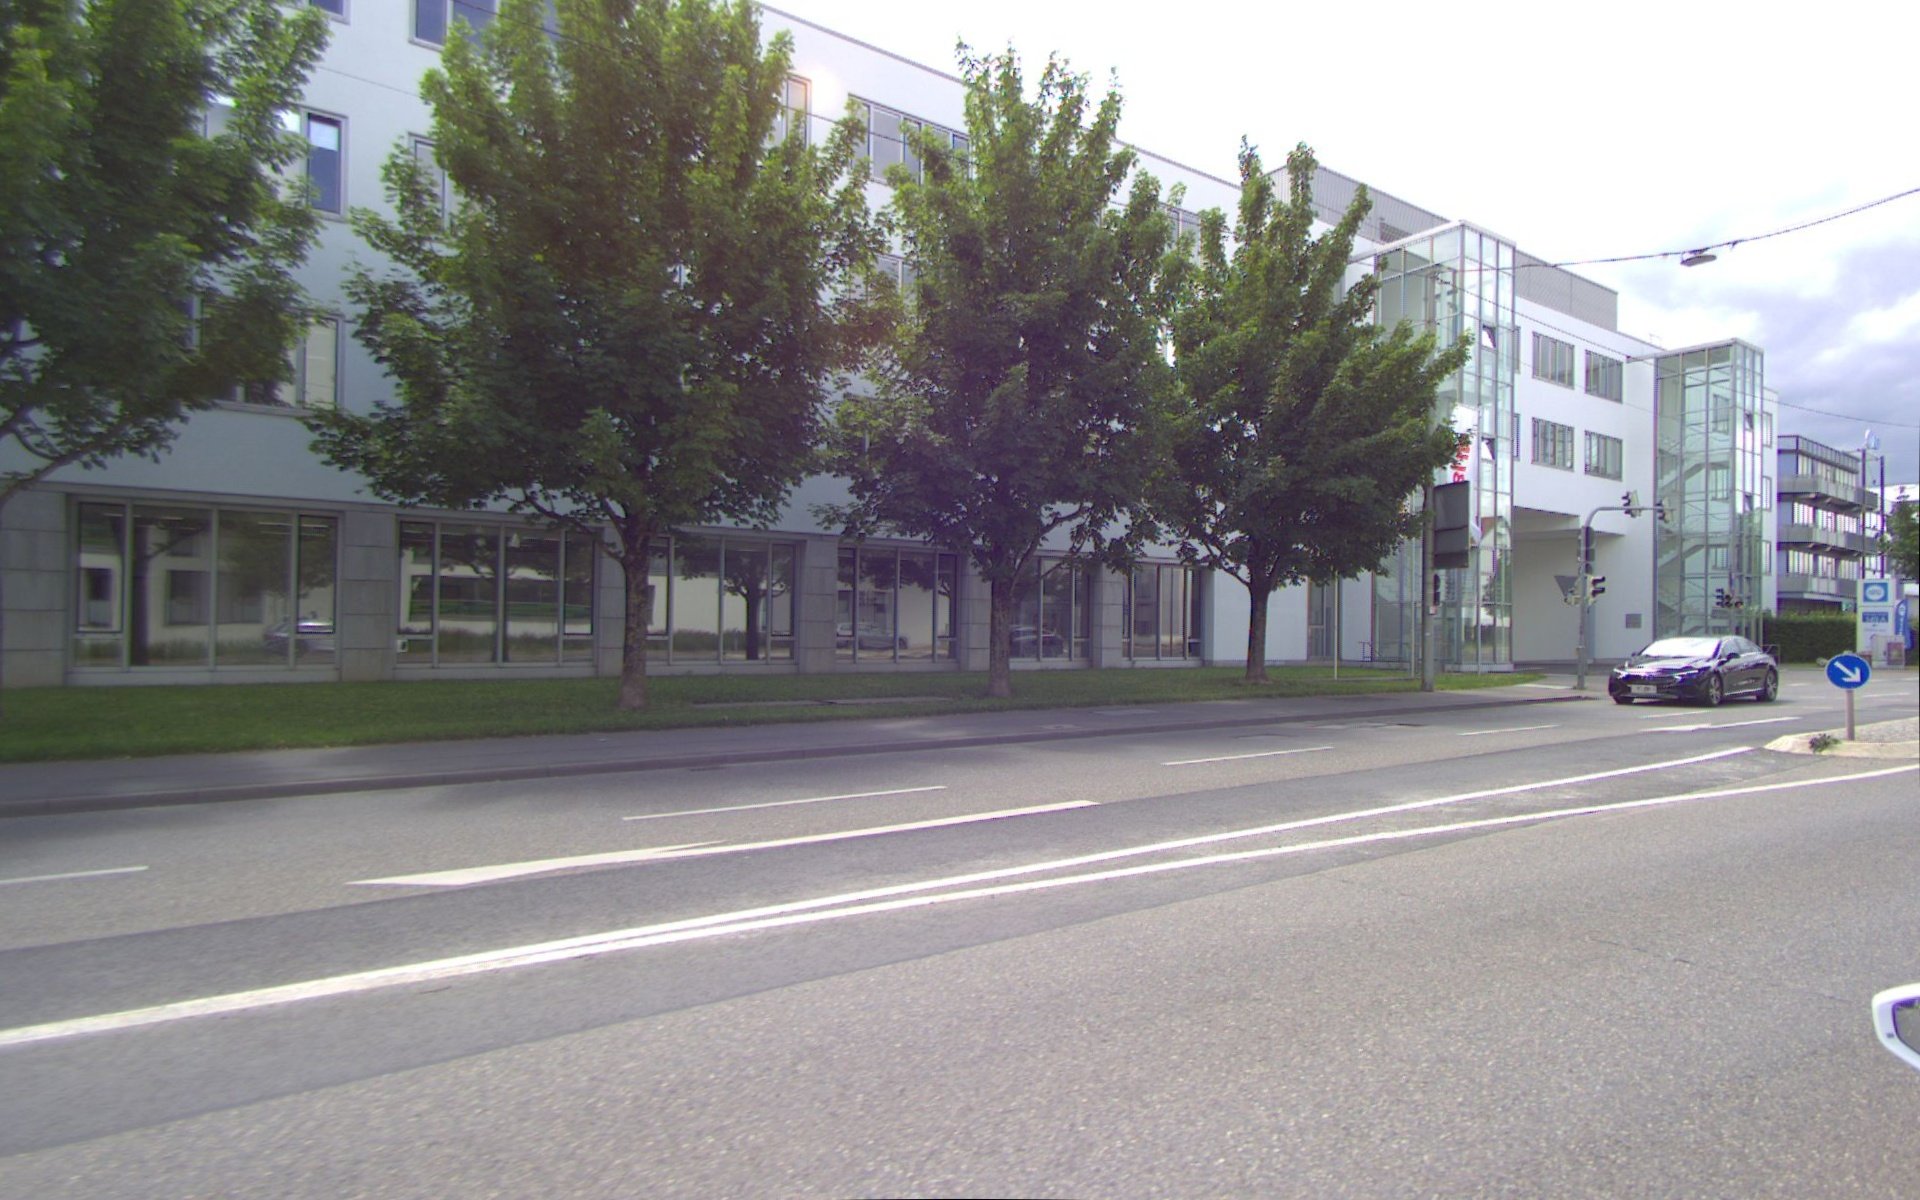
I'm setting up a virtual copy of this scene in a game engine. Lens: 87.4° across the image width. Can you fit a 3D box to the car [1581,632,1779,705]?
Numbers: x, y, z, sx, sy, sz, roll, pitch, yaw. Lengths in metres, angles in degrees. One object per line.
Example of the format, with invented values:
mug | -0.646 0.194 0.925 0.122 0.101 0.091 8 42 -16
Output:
car | 16.139 1.493 22.428 4.998 1.464 2.012 2 -3 -35
